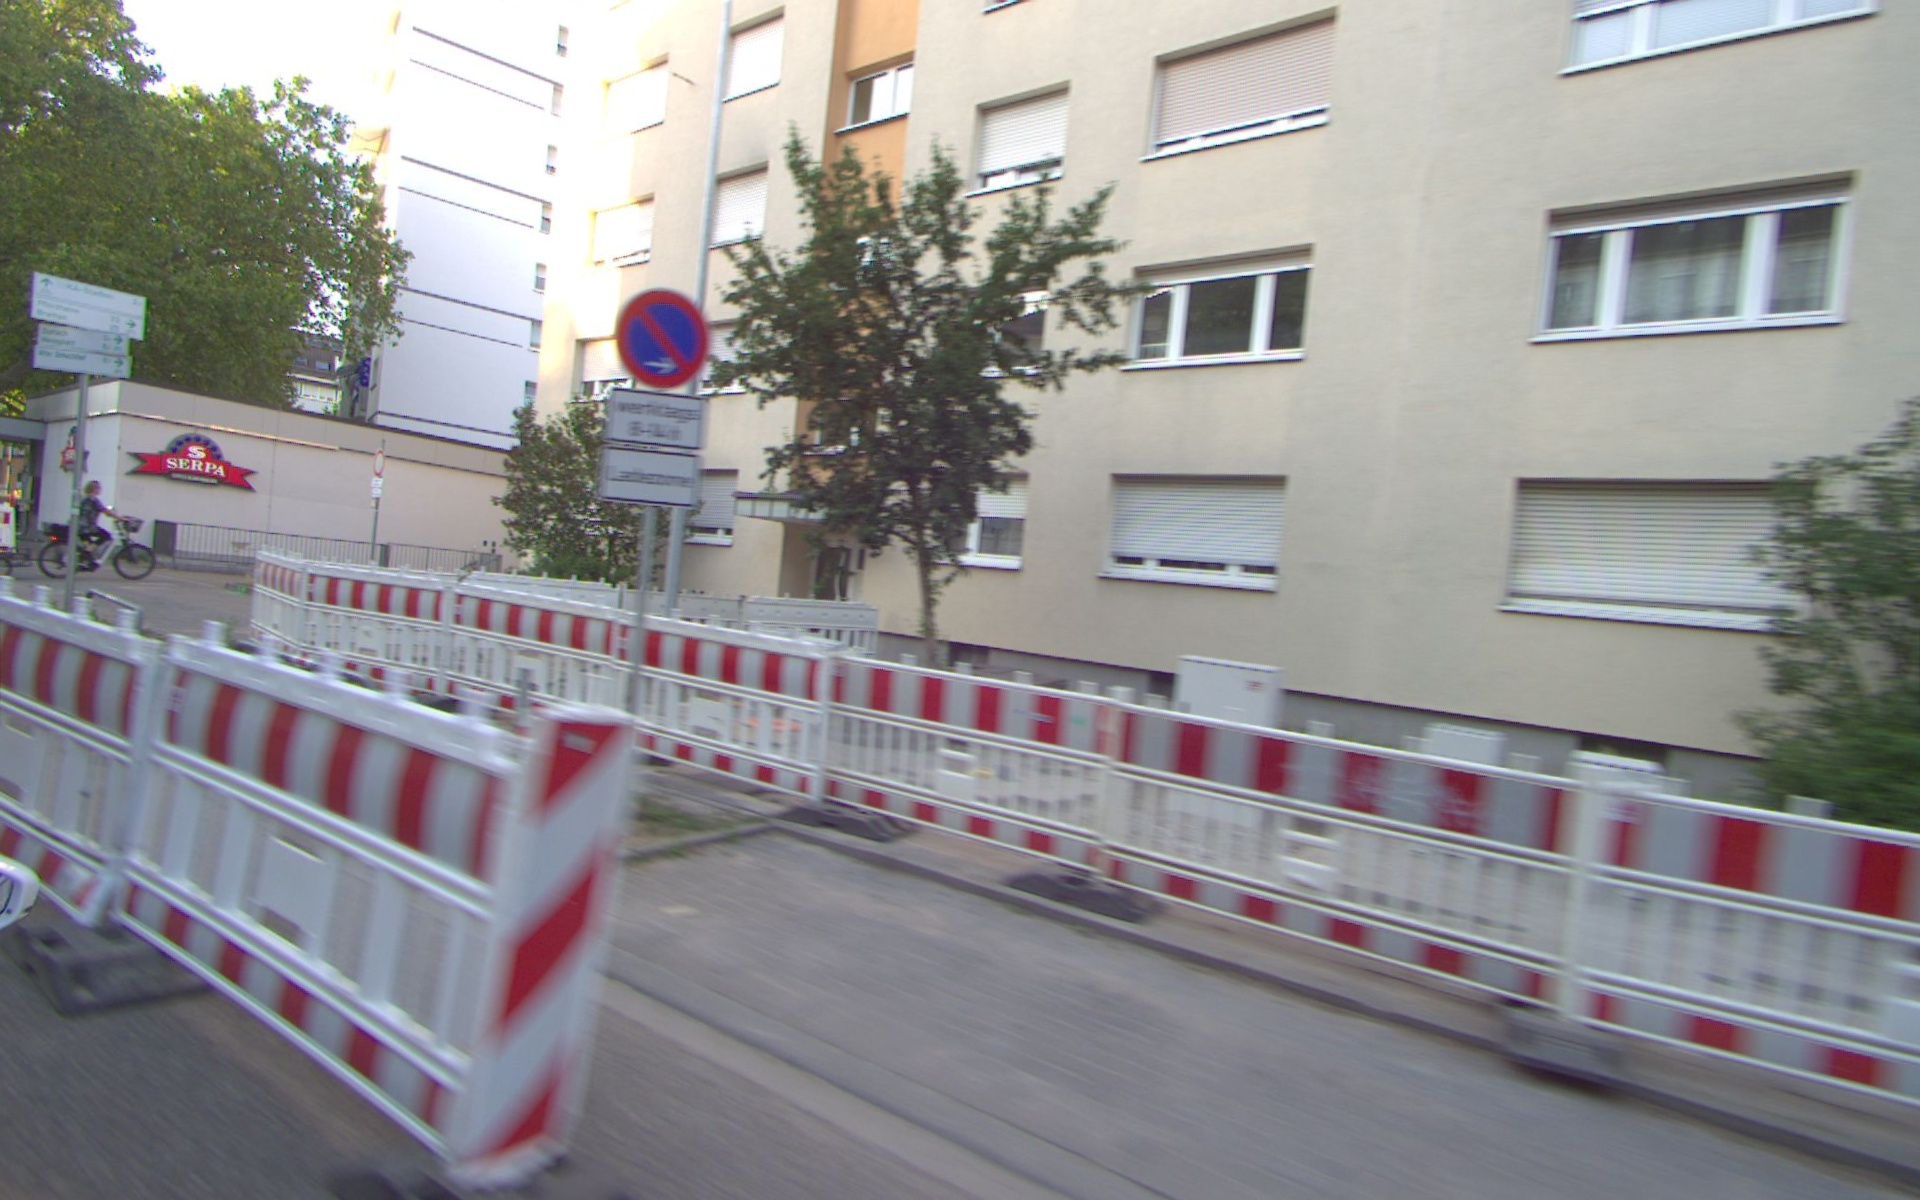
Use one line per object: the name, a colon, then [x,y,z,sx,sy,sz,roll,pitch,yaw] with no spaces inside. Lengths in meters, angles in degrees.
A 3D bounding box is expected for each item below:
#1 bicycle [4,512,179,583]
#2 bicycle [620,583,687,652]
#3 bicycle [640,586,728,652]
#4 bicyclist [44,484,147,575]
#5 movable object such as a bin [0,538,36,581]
bicycle: [-16.439,-0.960,19.134,0.924,1.188,2.356,5,2,19]
bicycle: [-5.204,0.275,17.009,0.540,0.980,1.799,6,1,-33]
bicycle: [-4.912,0.333,17.847,1.672,0.980,0.543,7,1,38]
bicyclist: [-16.413,-1.313,19.119,0.924,1.603,1.145,5,3,19]
movable object such as a bin: [-17.033,-0.720,17.576,0.924,0.698,0.992,5,3,19]
